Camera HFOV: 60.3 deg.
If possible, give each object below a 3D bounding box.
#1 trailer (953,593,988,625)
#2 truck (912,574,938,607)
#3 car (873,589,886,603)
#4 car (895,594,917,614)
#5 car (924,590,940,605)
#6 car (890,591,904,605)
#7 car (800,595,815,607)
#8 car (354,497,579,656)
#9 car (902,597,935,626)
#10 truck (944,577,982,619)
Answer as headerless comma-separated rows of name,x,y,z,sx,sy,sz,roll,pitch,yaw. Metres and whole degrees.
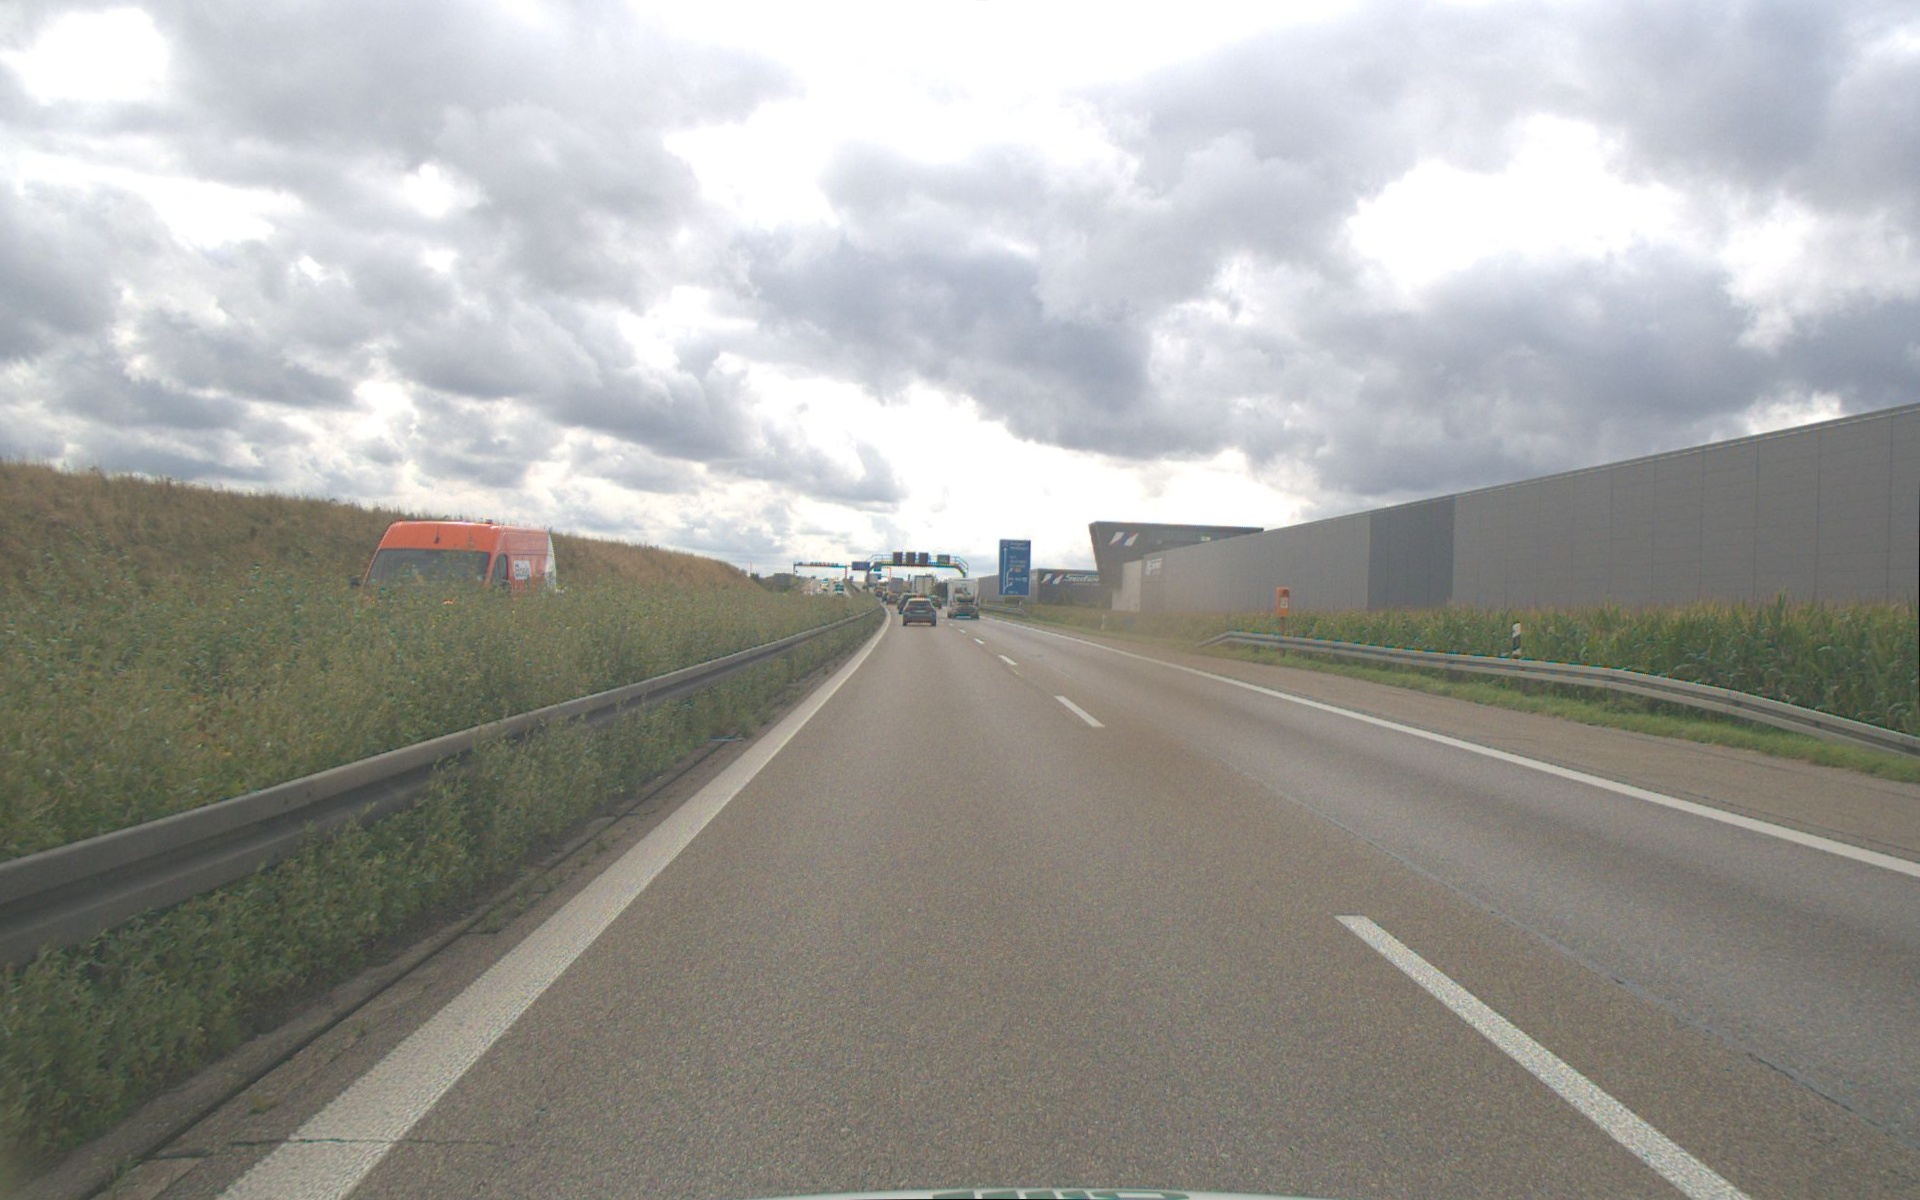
trailer,0.715,0.630,118.008,2.291,2.173,3.998,1,0,-2
truck,-5.078,-1.307,237.484,3.273,4.613,8.011,1,0,-4
car,-12.552,-0.596,257.815,1.953,2.049,3.999,1,0,-1
car,-4.727,0.362,144.804,1.906,1.714,3.999,1,0,-2
car,-3.249,-0.257,191.195,1.765,1.714,3.998,1,0,-2
car,-8.616,-0.252,225.524,1.904,1.806,3.694,1,0,-2
car,-20.185,0.141,218.854,1.689,1.428,4.340,1,0,-2
car,-7.911,-0.339,27.159,2.081,2.306,5.451,1,0,-1
car,-2.220,0.625,88.144,1.711,1.478,3.999,1,0,-2
truck,0.189,-0.134,124.724,2.433,3.002,5.810,1,0,-4
